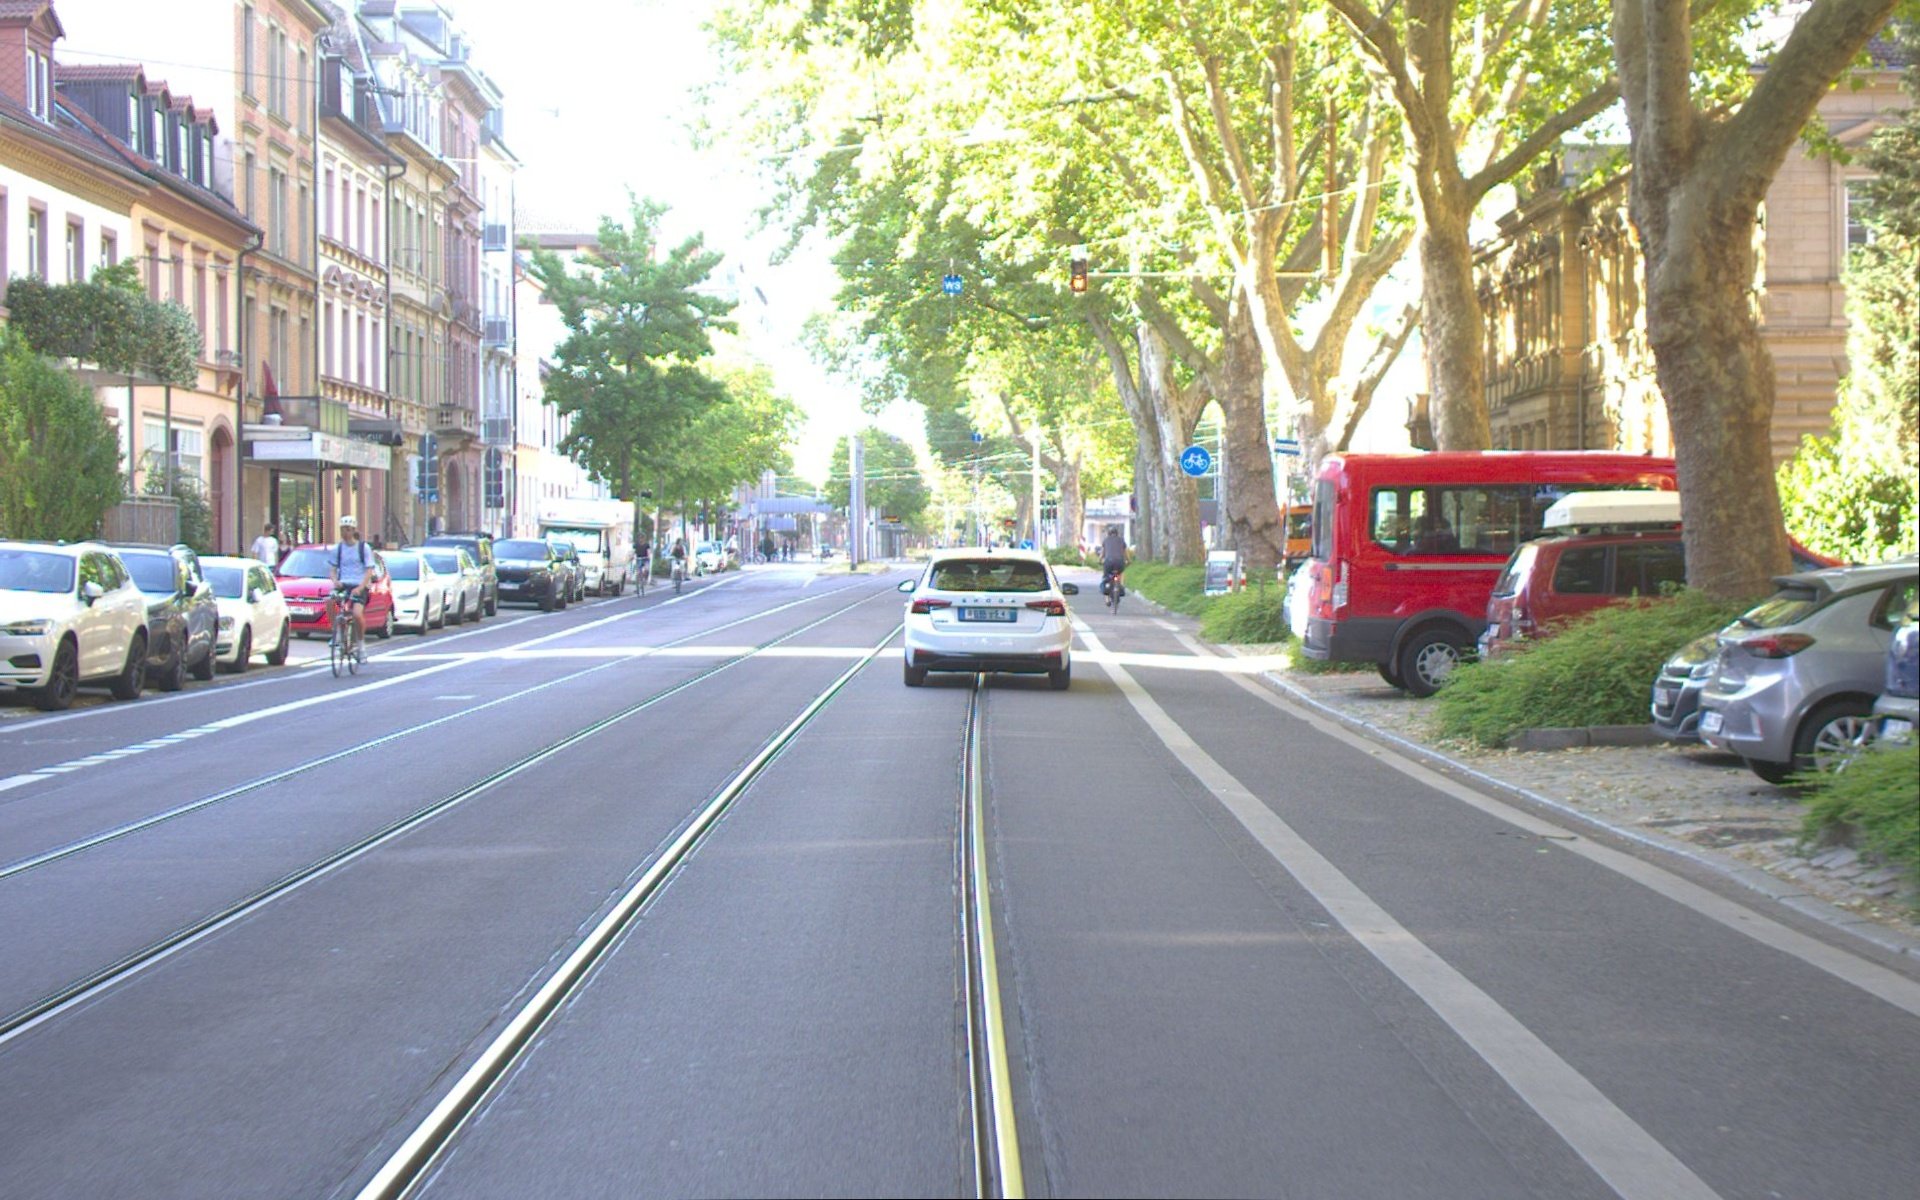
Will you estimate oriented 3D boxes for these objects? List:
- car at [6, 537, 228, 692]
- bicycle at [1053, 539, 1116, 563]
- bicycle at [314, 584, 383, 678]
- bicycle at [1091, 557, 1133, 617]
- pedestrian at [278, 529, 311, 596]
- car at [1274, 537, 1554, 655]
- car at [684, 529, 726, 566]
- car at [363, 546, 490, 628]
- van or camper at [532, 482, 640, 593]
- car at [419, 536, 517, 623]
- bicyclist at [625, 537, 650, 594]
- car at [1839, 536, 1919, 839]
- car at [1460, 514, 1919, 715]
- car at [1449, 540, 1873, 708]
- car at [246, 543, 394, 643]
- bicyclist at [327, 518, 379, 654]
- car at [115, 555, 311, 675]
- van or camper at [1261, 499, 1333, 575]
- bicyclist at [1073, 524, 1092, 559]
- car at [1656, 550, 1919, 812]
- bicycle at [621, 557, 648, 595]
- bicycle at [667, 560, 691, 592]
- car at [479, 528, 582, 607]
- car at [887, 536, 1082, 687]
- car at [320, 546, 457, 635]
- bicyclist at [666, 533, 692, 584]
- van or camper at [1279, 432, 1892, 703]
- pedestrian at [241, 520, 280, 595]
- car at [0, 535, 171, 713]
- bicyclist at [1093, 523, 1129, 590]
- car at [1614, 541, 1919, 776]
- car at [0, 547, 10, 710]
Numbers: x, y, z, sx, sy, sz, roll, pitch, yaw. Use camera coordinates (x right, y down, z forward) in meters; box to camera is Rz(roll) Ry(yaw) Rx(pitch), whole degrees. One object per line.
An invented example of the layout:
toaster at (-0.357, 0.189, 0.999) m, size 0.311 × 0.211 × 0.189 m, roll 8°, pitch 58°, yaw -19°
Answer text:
car at (-9.842, 0.120, 40.459) m, size 1.856 × 1.698 × 4.660 m, roll -1°, pitch 1°, yaw -5°
bicycle at (5.591, -2.192, 154.406) m, size 2.771 × 0.996 × 0.592 m, roll 1°, pitch 1°, yaw 15°
bicycle at (-7.377, 0.362, 41.553) m, size 0.481 × 1.082 × 1.846 m, roll 0°, pitch 1°, yaw 1°
bicycle at (3.038, -0.276, 69.010) m, size 0.680 × 1.151 × 2.964 m, roll 1°, pitch 1°, yaw 0°
pedestrian at (-14.723, -0.838, 76.031) m, size 0.635 × 1.455 × 0.657 m, roll 1°, pitch 1°, yaw -16°
car at (6.504, -0.066, 49.546) m, size 3.751 × 1.503 × 1.681 m, roll 3°, pitch 1°, yaw 0°
car at (-12.215, -2.525, 164.824) m, size 1.794 × 1.720 × 3.785 m, roll 1°, pitch 1°, yaw -2°
car at (-10.304, -0.276, 66.710) m, size 1.827 × 1.497 × 4.450 m, roll 1°, pitch 1°, yaw -1°
van or camper at (-10.972, -1.823, 101.335) m, size 2.216 × 3.129 × 7.113 m, roll 1°, pitch 1°, yaw 1°
car at (-10.160, -0.443, 71.188) m, size 1.555 × 1.726 × 3.686 m, roll 1°, pitch 1°, yaw -1°
bicyclist at (-9.222, -0.988, 98.378) m, size 0.535 × 1.629 × 0.896 m, roll -2°, pitch 1°, yaw 2°
car at (6.822, 0.451, 18.861) m, size 3.595 × 1.594 × 1.541 m, roll 0°, pitch 0°, yaw 0°
car at (6.597, 0.126, 30.988) m, size 3.818 × 1.643 × 1.767 m, roll -2°, pitch 0°, yaw -3°
car at (6.805, 0.212, 33.588) m, size 3.733 × 1.524 × 1.669 m, roll -1°, pitch 1°, yaw -3°
car at (-10.377, -0.140, 55.949) m, size 1.569 × 1.557 × 3.448 m, roll 0°, pitch 1°, yaw 4°
bicyclist at (-7.364, -0.179, 41.708) m, size 0.473 × 1.630 × 0.800 m, roll 0°, pitch 1°, yaw 0°
car at (-9.914, 0.160, 45.875) m, size 1.687 × 1.472 × 4.258 m, roll 1°, pitch 1°, yaw 0°
van or camper at (11.348, -2.102, 116.003) m, size 2.027 × 2.455 × 5.108 m, roll 1°, pitch 1°, yaw 2°
bicyclist at (5.506, -2.619, 154.443) m, size 0.737 × 1.583 × 0.586 m, roll 0°, pitch 1°, yaw 12°
car at (6.308, 0.443, 21.330) m, size 3.595 × 1.512 × 1.694 m, roll -2°, pitch 1°, yaw 0°
bicycle at (-9.293, -0.681, 98.169) m, size 0.484 × 1.044 × 2.039 m, roll -2°, pitch 1°, yaw 1°
bicycle at (-8.455, -0.730, 103.513) m, size 0.499 × 0.940 × 1.921 m, roll -2°, pitch 1°, yaw 1°
car at (-10.370, -0.809, 83.275) m, size 1.964 × 1.775 × 4.938 m, roll 3°, pitch 1°, yaw -2°
car at (0.207, 0.093, 36.126) m, size 1.842 × 1.475 × 3.839 m, roll 1°, pitch 1°, yaw -2°
car at (-10.209, -0.201, 61.685) m, size 1.827 × 1.497 × 4.689 m, roll 1°, pitch 1°, yaw -2°
bicyclist at (-8.446, -1.249, 103.373) m, size 0.638 × 1.498 × 1.070 m, roll -1°, pitch 1°, yaw 1°
van or camper at (6.378, -0.366, 35.558) m, size 5.814 × 2.510 × 2.288 m, roll -2°, pitch 2°, yaw -2°
pedestrian at (-15.421, -0.936, 75.804) m, size 0.771 × 1.628 × 0.657 m, roll 1°, pitch 1°, yaw -16°
car at (-9.587, 0.190, 35.239) m, size 1.856 × 1.698 × 4.763 m, roll 0°, pitch 1°, yaw 1°
bicyclist at (3.034, -0.878, 69.080) m, size 0.679 × 1.334 × 0.525 m, roll 1°, pitch 1°, yaw 0°
car at (6.688, 0.357, 24.520) m, size 3.670 × 1.518 × 1.694 m, roll -2°, pitch 1°, yaw 0°
car at (-9.755, 0.303, 30.287) m, size 1.554 × 1.510 × 3.924 m, roll 0°, pitch 1°, yaw 2°
